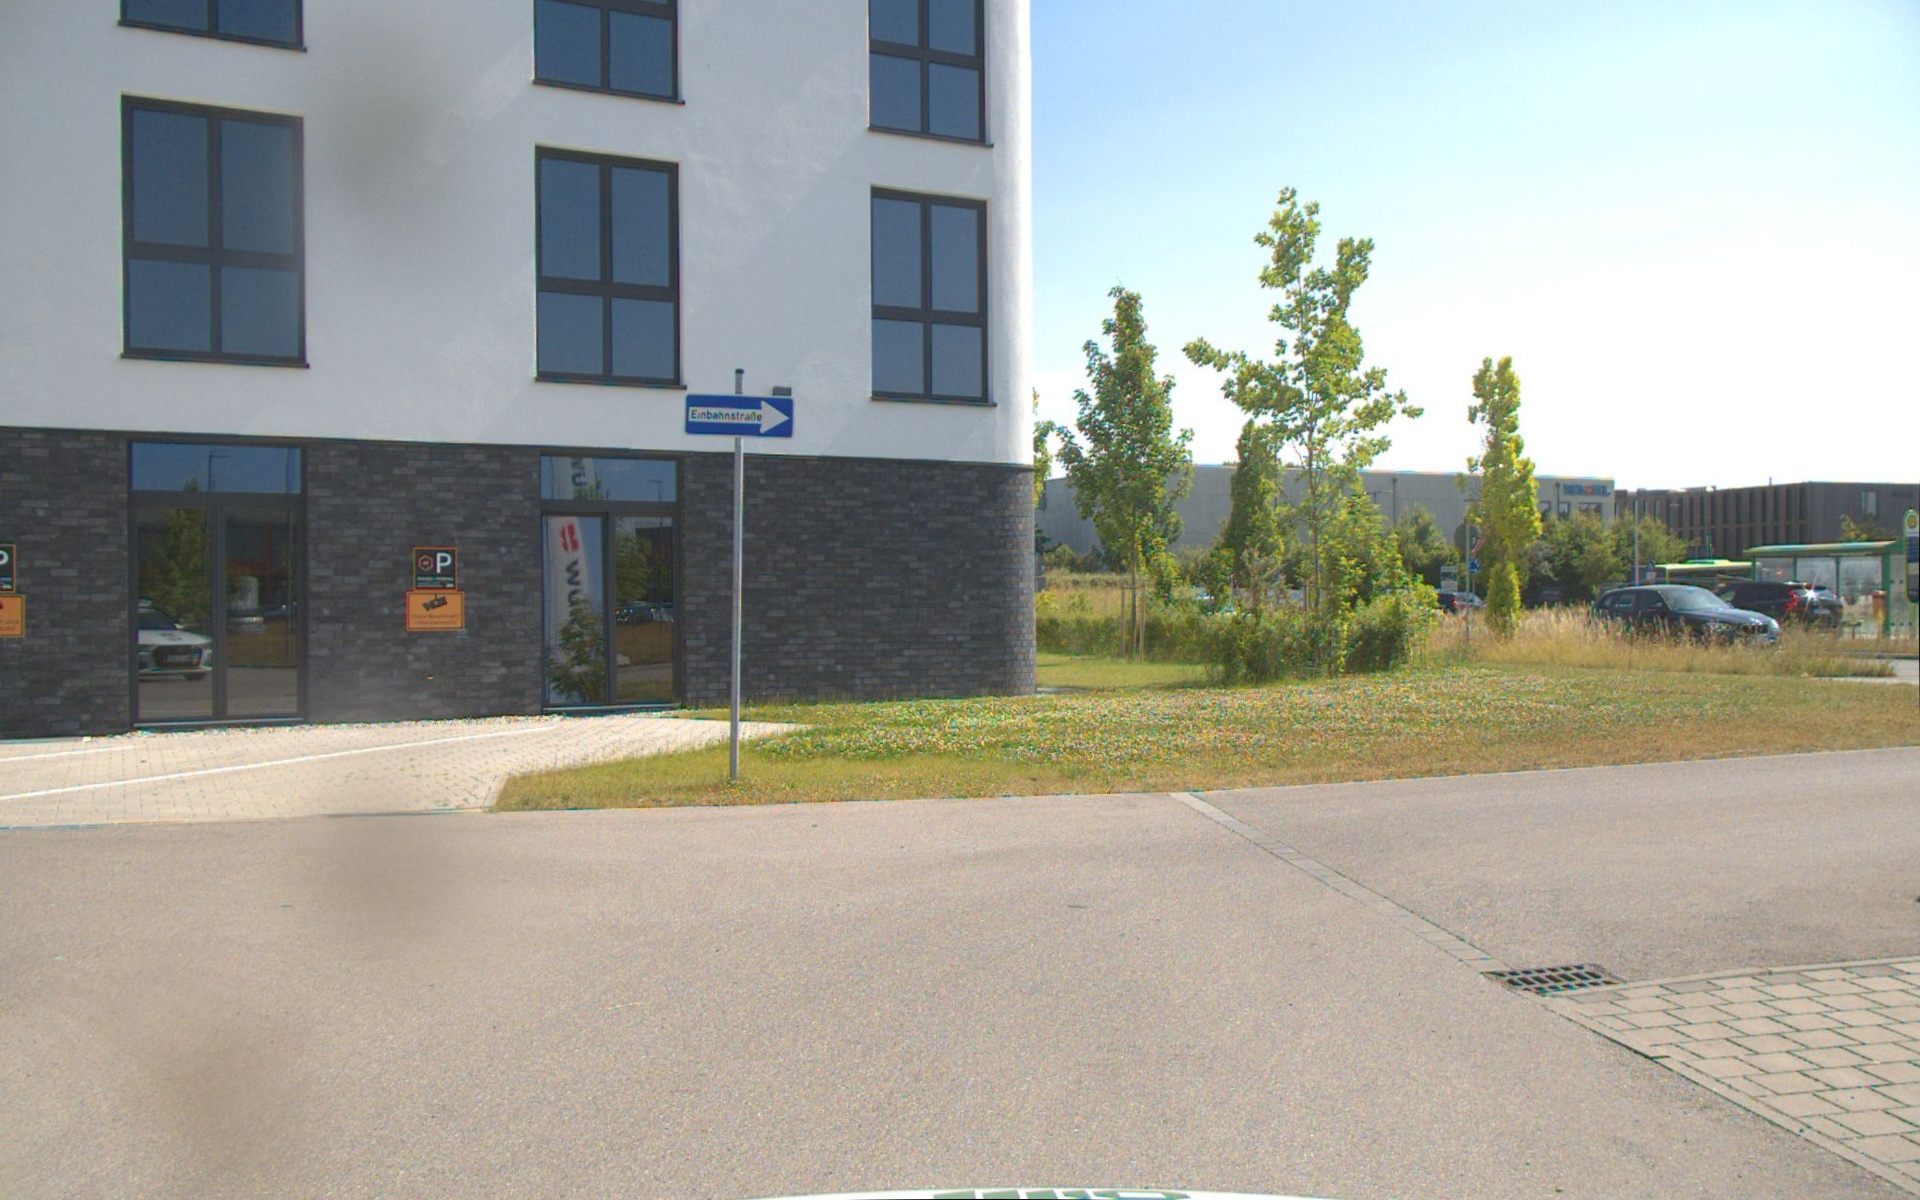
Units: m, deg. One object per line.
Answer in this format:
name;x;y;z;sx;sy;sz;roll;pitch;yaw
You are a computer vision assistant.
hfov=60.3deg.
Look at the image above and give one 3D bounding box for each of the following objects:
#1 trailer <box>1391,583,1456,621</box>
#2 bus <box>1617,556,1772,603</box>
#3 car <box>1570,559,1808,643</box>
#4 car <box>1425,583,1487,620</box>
trailer;23.989;0.079;85.607;1.794;1.892;3.980;1;1;39
bus;45.446;-1.287;102.128;11.408;2.783;2.555;-1;1;-30
car;14.684;-0.008;33.590;1.882;1.578;4.358;0;1;-23
car;26.566;0.058;88.589;1.794;1.892;3.980;1;1;39
